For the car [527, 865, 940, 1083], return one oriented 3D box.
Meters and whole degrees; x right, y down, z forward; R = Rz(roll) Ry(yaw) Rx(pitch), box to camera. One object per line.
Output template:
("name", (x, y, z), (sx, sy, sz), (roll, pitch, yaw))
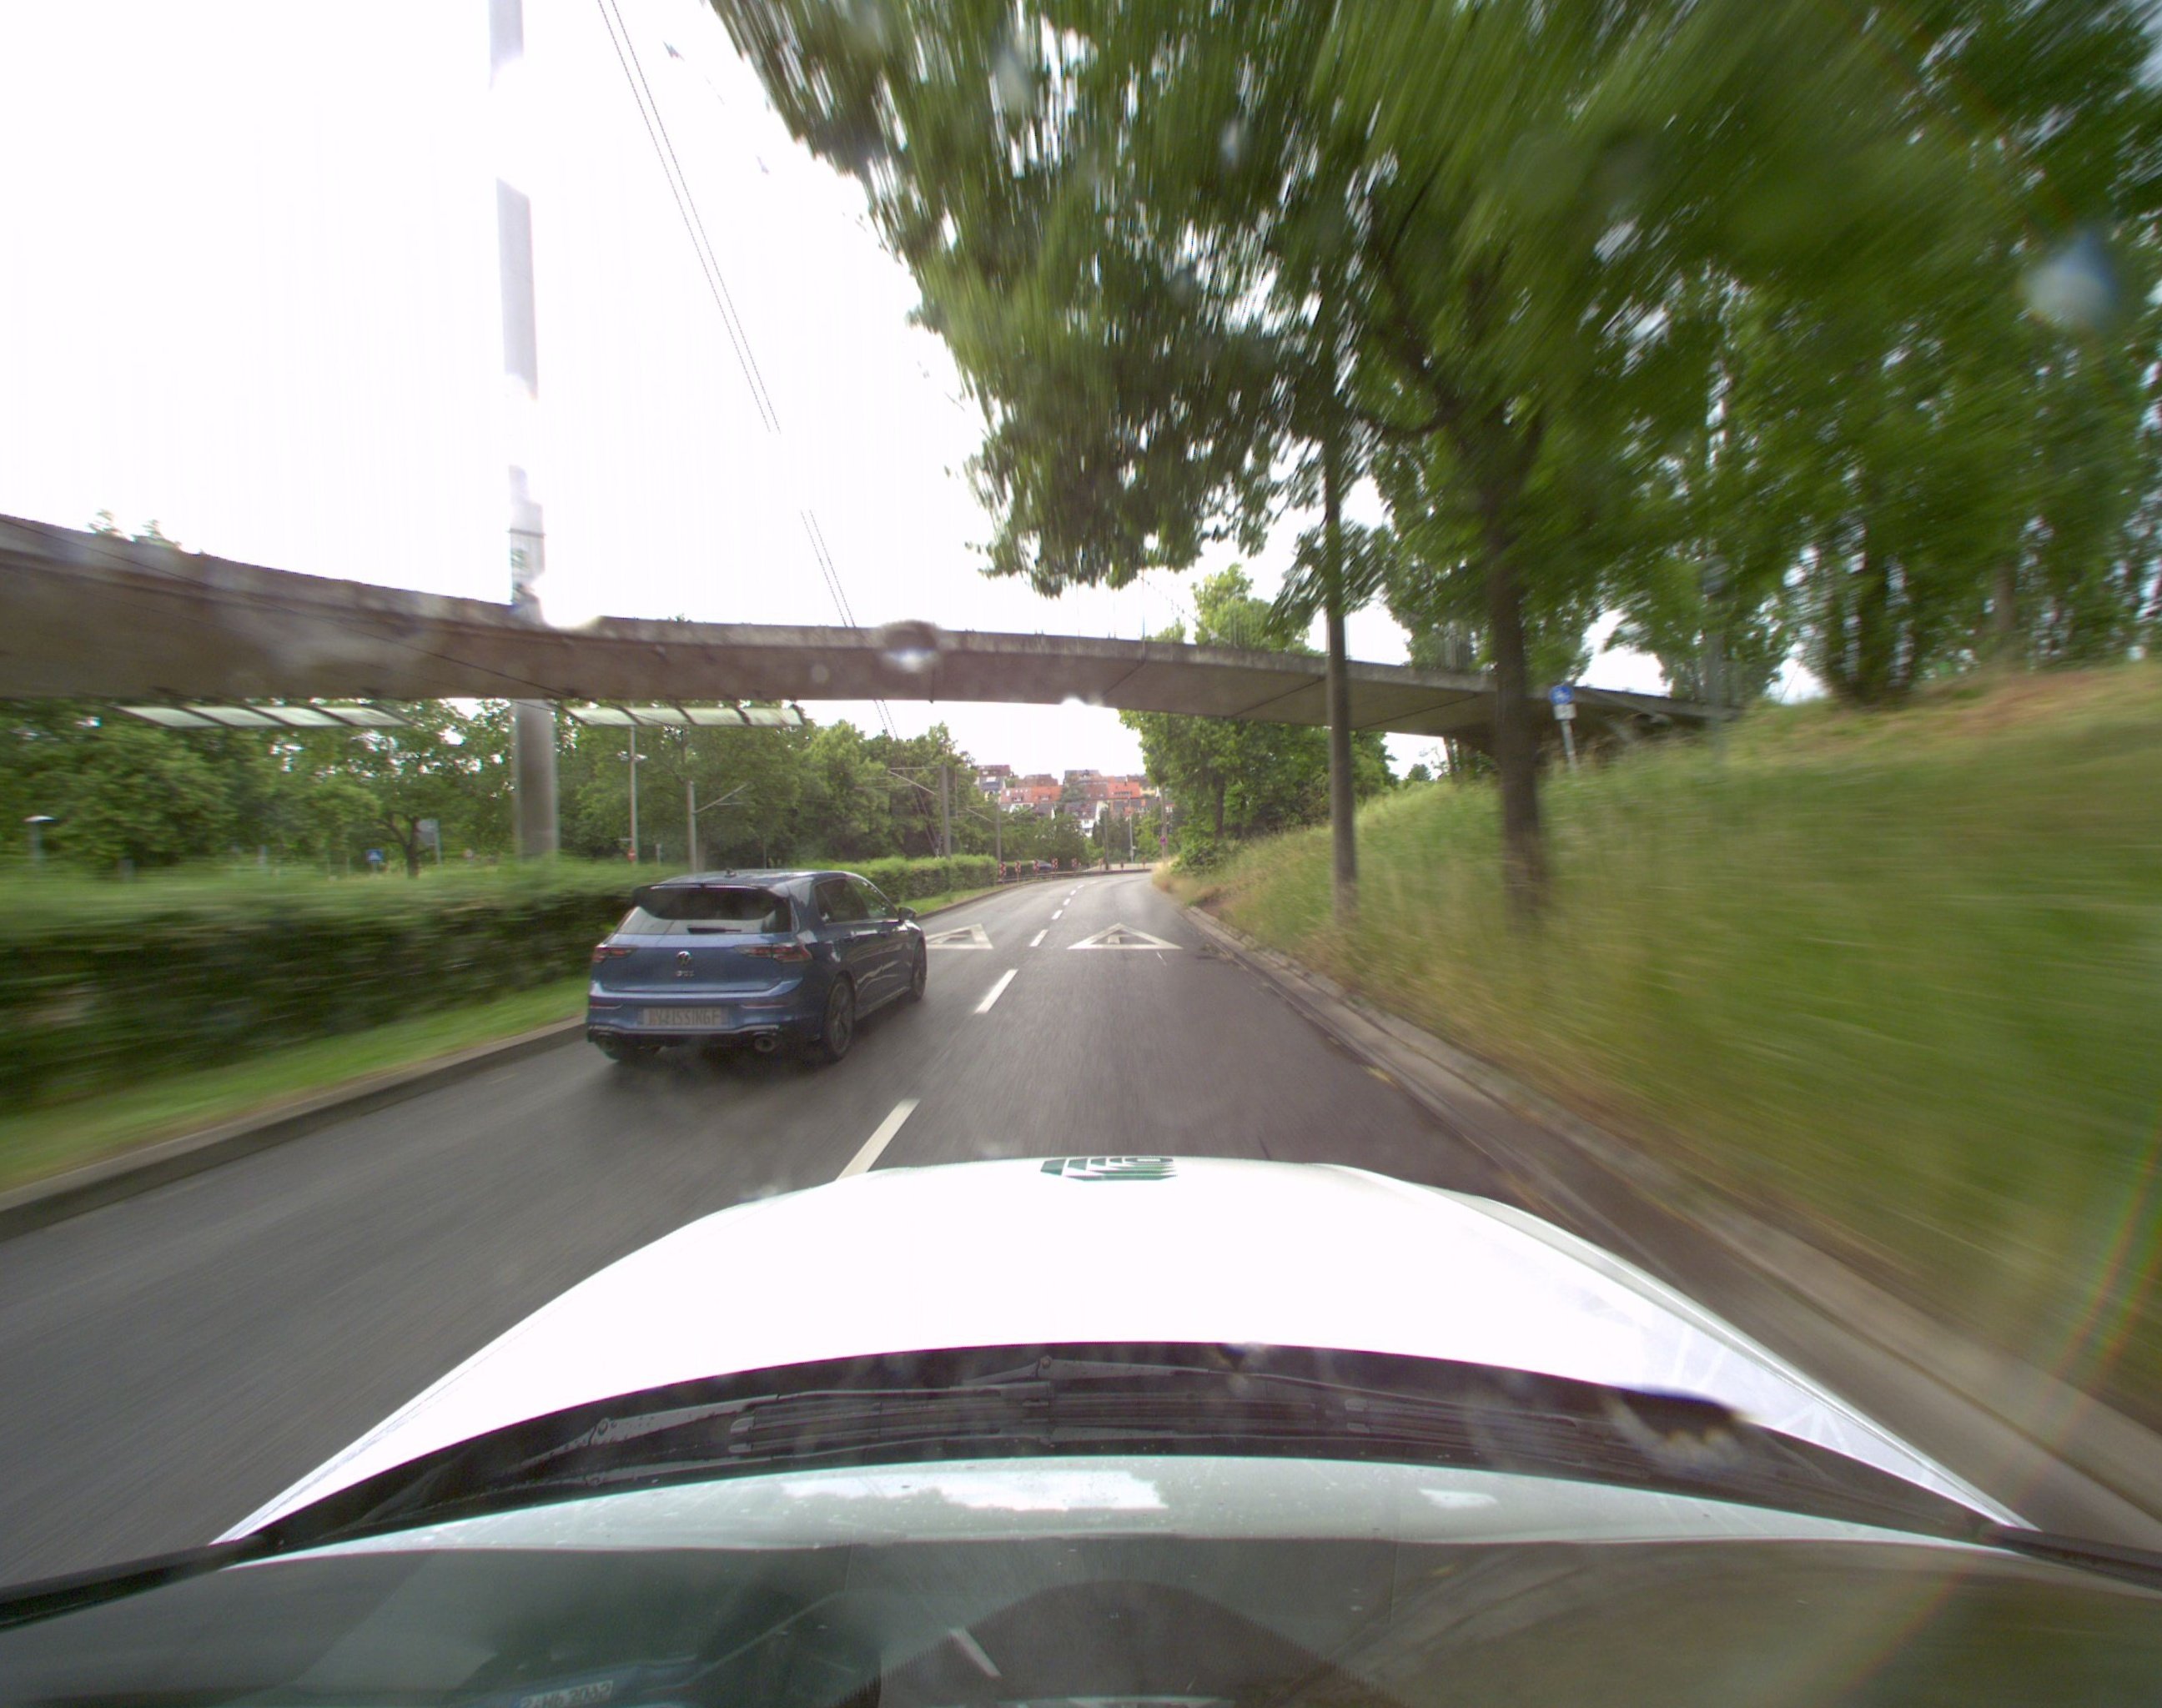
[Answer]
("car", (-2.661, 0.815, 7.507), (1.801, 1.378, 4.349), (-1, 0, 2))
